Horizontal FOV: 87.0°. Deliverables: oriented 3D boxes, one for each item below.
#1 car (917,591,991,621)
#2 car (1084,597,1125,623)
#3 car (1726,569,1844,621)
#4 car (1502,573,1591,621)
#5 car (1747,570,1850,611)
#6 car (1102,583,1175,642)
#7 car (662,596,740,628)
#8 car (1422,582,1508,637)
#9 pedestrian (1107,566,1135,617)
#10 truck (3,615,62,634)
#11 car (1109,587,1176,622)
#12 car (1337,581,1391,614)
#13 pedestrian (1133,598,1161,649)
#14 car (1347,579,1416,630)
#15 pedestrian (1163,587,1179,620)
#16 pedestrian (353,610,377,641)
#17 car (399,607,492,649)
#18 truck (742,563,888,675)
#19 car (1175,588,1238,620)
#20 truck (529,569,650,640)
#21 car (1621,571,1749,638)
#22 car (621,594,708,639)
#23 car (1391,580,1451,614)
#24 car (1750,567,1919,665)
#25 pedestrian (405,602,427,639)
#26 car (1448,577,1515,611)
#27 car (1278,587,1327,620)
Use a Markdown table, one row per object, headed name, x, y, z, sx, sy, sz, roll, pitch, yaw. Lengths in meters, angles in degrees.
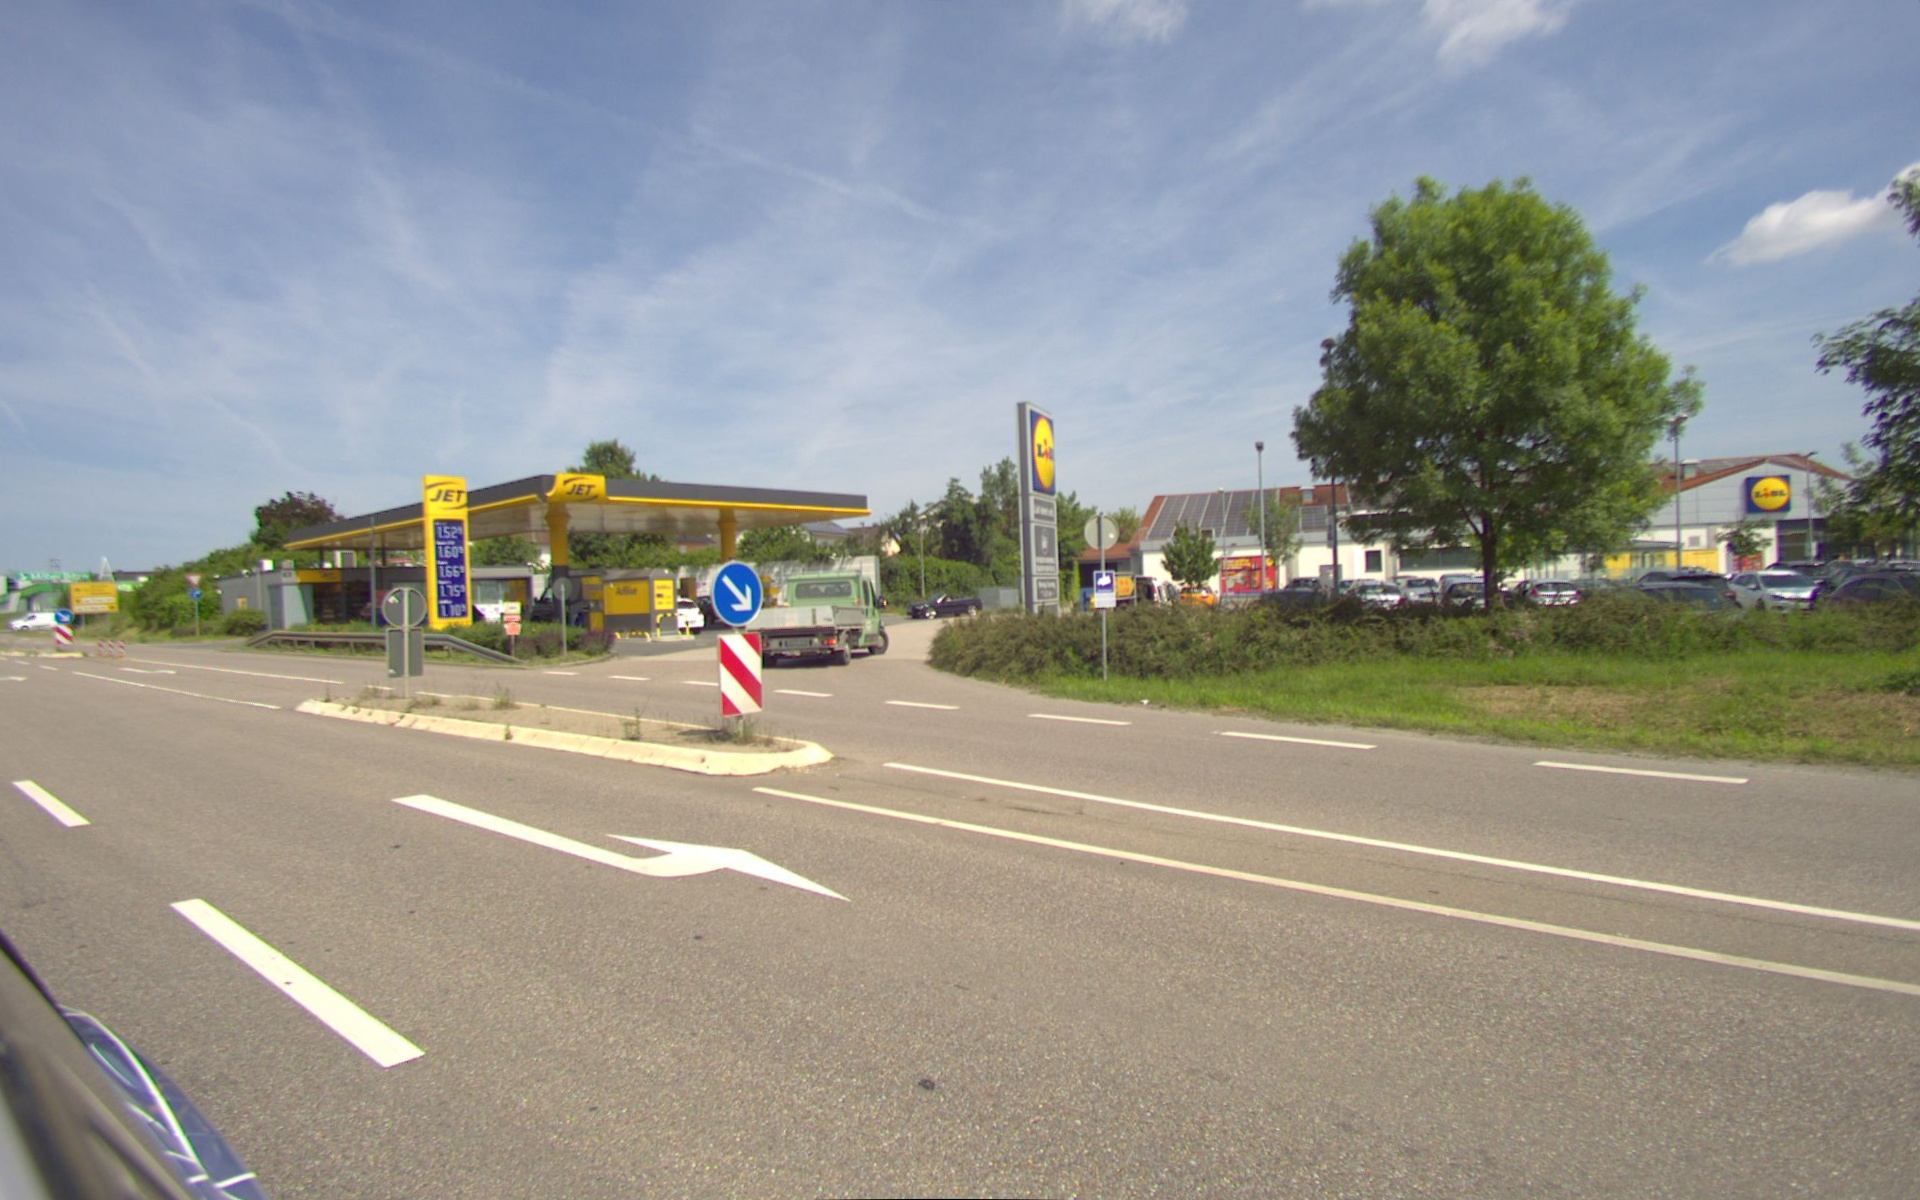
| name | x | y | z | sx | sy | sz | roll | pitch | yaw |
| --- | --- | --- | --- | --- | --- | --- | --- | --- | --- |
| car | -0.329 | 0.322 | 57.058 | 3.810 | 1.625 | 1.758 | -1 | -1 | -30 |
| car | 10.704 | 0.694 | 74.712 | 1.987 | 1.823 | 4.355 | -2 | 0 | 22 |
| car | 26.073 | -0.163 | 32.144 | 1.767 | 1.540 | 3.971 | -1 | 0 | 22 |
| car | 19.777 | -0.098 | 34.274 | 1.764 | 1.540 | 3.976 | -1 | 0 | 18 |
| car | 34.027 | -0.379 | 41.215 | 1.866 | 1.553 | 4.230 | -1 | 0 | 20 |
| car | 6.093 | 0.386 | 34.170 | 1.865 | 1.825 | 4.144 | -2 | 0 | 18 |
| car | -13.673 | 0.633 | 53.374 | 3.862 | 1.625 | 1.735 | -2 | -1 | 31 |
| car | 15.360 | 0.248 | 30.972 | 1.769 | 1.513 | 4.121 | -2 | 1 | 19 |
| pedestrian | 5.077 | -0.276 | 31.883 | 0.801 | 1.587 | 0.701 | -1 | 0 | 14 |
| truck | -106.827 | 2.794 | 116.599 | 1.997 | 2.024 | 4.714 | -1 | 0 | 38 |
| car | 9.048 | 0.215 | 49.927 | 1.765 | 1.551 | 3.955 | -3 | 0 | 33 |
| car | 18.921 | -0.136 | 47.574 | 1.868 | 1.453 | 3.981 | -1 | 1 | 15 |
| pedestrian | 5.859 | 0.723 | 31.692 | 0.801 | 1.587 | 0.701 | -1 | 0 | 14 |
| car | 14.853 | 0.124 | 35.859 | 1.850 | 1.688 | 4.398 | -2 | 0 | 18 |
| pedestrian | 10.007 | 0.174 | 47.989 | 0.508 | 1.564 | 0.507 | -1 | 0 | -31 |
| pedestrian | -28.326 | 1.201 | 48.173 | 0.901 | 1.438 | 0.495 | -1 | 0 | -39 |
| car | -22.152 | 1.213 | 43.505 | 4.258 | 1.719 | 1.975 | -2 | -1 | 38 |
| truck | -3.411 | 0.392 | 25.293 | 2.221 | 2.393 | 6.341 | -1 | 0 | 5 |
| car | 12.138 | 0.185 | 49.711 | 1.879 | 1.453 | 3.957 | -1 | 1 | 31 |
| truck | -16.525 | 0.215 | 44.947 | 6.279 | 2.944 | 2.222 | -1 | 0 | 40 |
| car | 20.122 | 0.080 | 28.273 | 1.898 | 1.687 | 3.973 | -1 | 1 | 21 |
| car | -12.207 | 0.721 | 41.673 | 4.001 | 1.741 | 1.713 | -2 | -3 | 44 |
| car | 21.151 | -0.167 | 46.588 | 1.868 | 1.453 | 3.981 | -1 | 1 | 15 |
| car | 16.807 | 0.271 | 19.307 | 1.683 | 1.670 | 3.970 | -1 | 0 | 22 |
| pedestrian | -27.558 | 1.020 | 51.259 | 0.639 | 1.852 | 0.788 | -2 | 0 | 42 |
| car | 23.551 | -0.288 | 45.873 | 1.868 | 1.453 | 3.981 | -1 | 1 | 15 |
| car | 16.077 | 0.125 | 47.656 | 1.868 | 1.453 | 3.981 | -1 | 1 | 15 |
